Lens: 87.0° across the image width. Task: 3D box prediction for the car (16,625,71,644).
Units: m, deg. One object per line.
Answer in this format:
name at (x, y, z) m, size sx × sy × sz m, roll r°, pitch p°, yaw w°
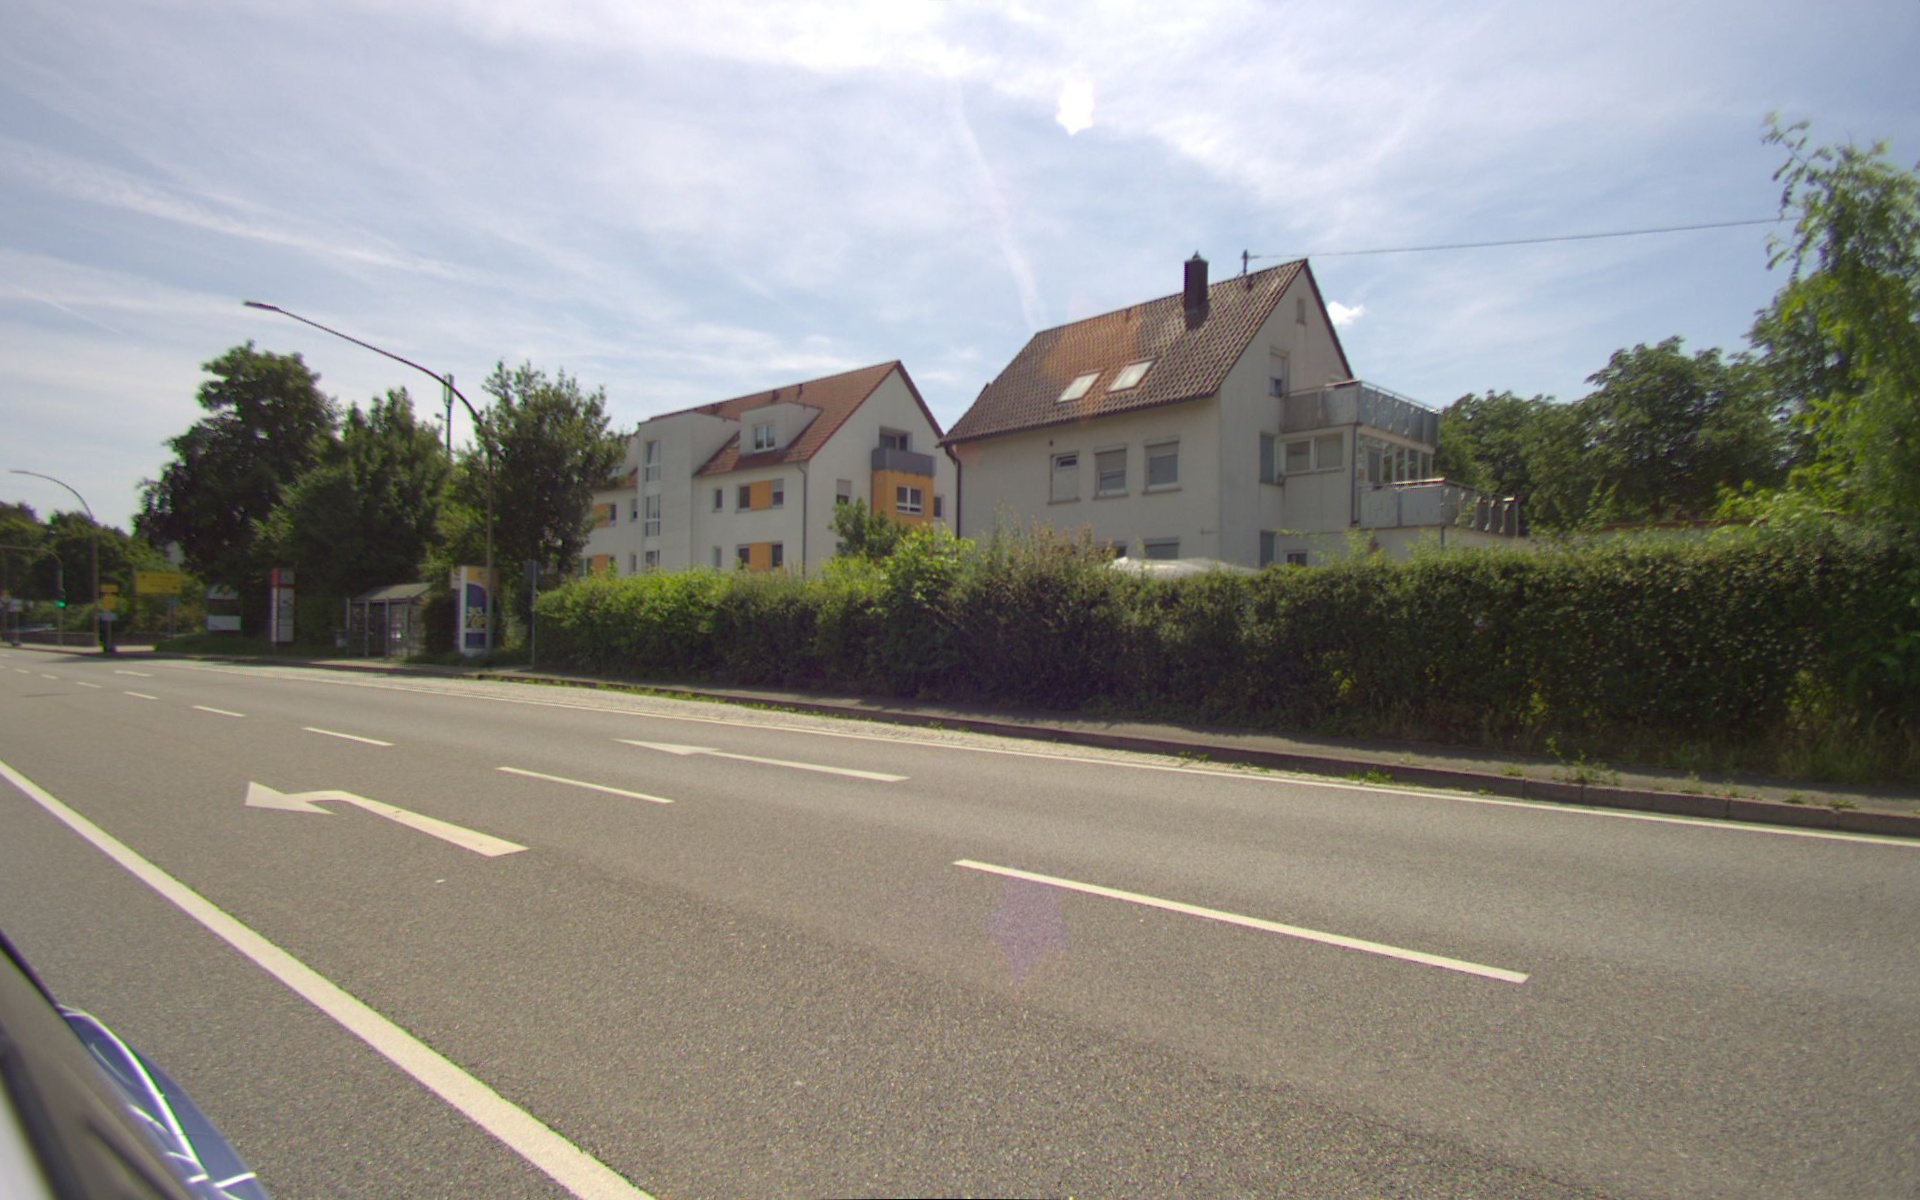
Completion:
car at (-96.502, 3.576, 106.595) m, size 1.997 × 1.783 × 3.950 m, roll 0°, pitch 1°, yaw 37°
